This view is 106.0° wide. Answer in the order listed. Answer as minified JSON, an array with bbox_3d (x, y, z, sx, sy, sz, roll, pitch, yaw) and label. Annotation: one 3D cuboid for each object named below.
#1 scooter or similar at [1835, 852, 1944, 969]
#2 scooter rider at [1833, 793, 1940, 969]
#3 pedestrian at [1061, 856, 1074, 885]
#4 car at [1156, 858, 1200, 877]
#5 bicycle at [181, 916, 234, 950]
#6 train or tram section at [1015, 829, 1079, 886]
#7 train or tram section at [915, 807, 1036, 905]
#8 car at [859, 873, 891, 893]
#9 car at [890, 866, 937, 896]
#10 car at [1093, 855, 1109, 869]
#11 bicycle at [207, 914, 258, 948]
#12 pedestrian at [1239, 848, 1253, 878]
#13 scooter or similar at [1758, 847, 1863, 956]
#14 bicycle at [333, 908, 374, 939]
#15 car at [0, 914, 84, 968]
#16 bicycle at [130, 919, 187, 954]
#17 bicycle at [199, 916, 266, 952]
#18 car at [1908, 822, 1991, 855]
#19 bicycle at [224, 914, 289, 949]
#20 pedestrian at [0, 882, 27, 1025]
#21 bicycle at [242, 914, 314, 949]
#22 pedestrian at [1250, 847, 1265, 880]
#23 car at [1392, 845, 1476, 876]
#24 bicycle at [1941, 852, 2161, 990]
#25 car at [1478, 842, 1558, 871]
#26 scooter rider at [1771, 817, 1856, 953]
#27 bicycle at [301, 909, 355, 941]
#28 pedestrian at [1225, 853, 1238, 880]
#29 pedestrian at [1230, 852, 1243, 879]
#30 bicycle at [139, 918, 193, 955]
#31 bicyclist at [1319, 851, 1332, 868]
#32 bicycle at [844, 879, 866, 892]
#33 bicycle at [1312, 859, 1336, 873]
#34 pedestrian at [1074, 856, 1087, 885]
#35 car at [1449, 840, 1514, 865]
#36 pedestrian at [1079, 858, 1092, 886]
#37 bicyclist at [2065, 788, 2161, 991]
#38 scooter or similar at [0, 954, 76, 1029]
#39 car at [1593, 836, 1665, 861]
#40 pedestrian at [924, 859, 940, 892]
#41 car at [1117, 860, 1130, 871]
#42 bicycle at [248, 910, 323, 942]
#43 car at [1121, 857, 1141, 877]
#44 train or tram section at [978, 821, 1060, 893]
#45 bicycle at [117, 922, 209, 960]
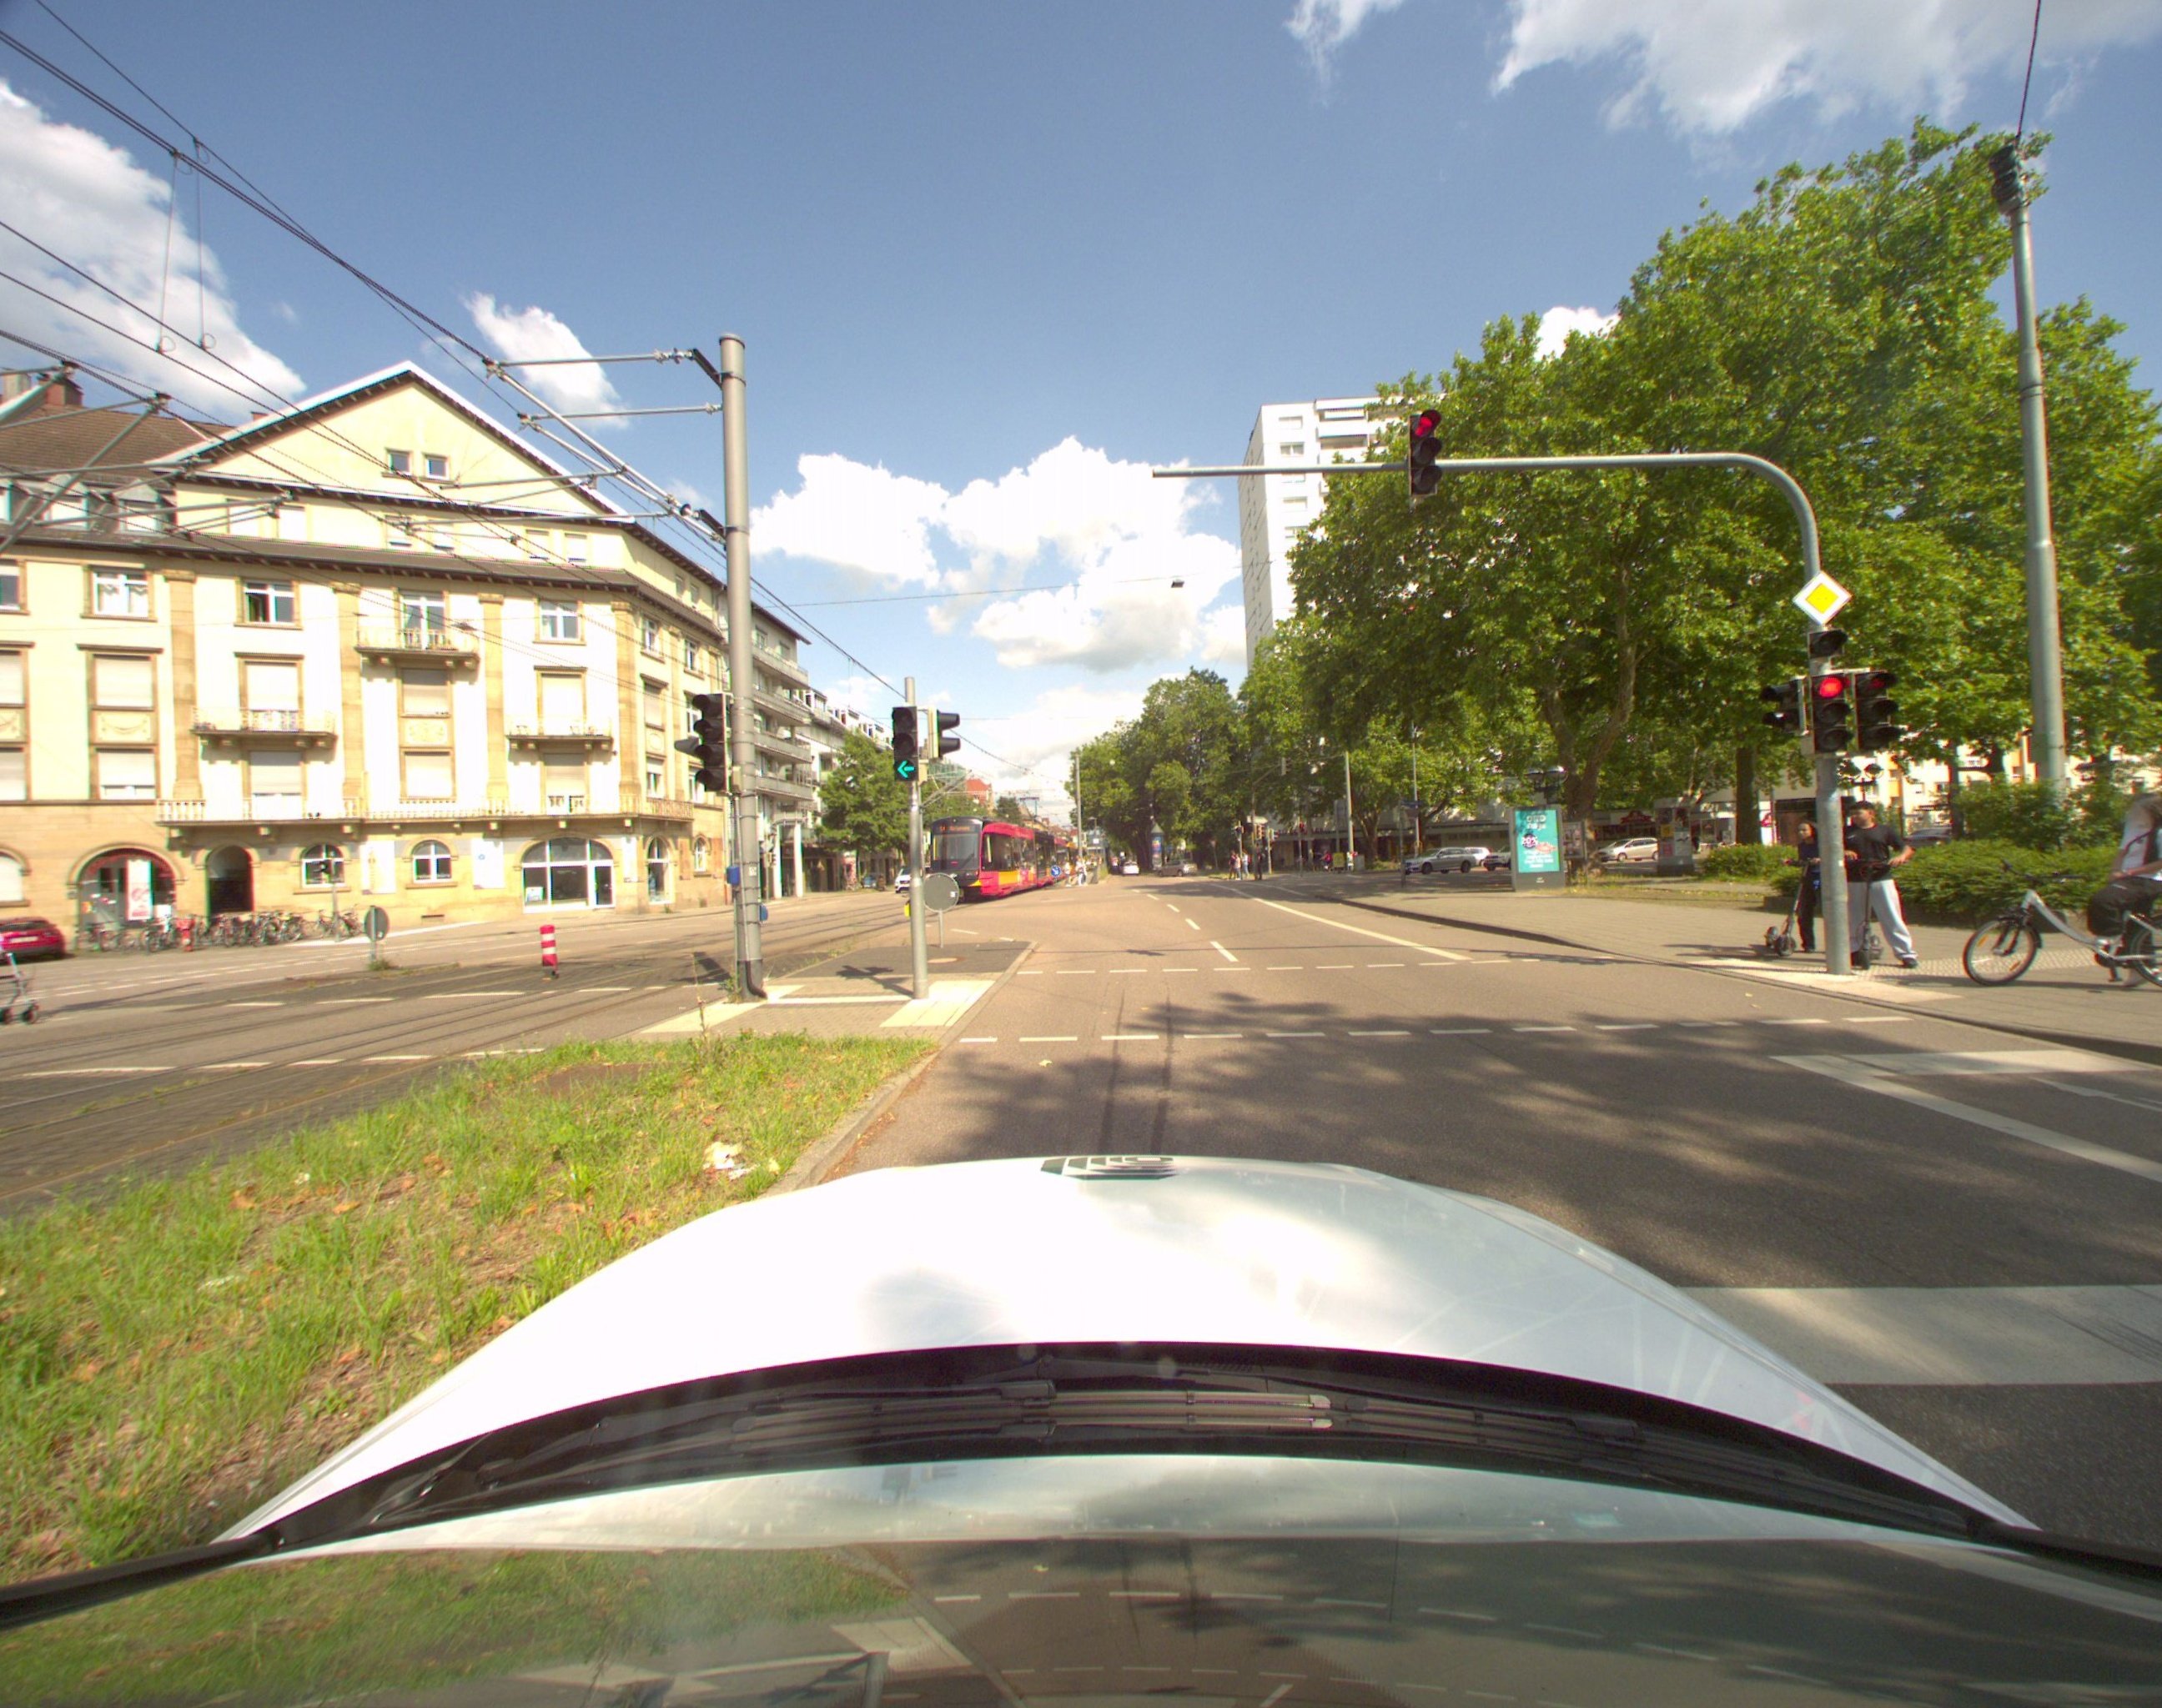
[{"bbox_3d":[8.708,0.592,8.806,0.538,1.171,0.882,-5,-1,28],"label":"scooter or similar"},{"bbox_3d":[8.687,0.281,8.816,0.538,1.810,0.684,-5,-1,28],"label":"scooter rider"},{"bbox_3d":[-0.815,1.019,49.380,0.666,1.703,0.649,-3,-1,5],"label":"pedestrian"},{"bbox_3d":[8.130,1.164,68.369,1.761,1.453,3.566,-2,-1,-34],"label":"car"},{"bbox_3d":[-31.841,2.854,29.703,0.541,1.018,1.914,-3,2,-23],"label":"bicycle"},{"bbox_3d":[-2.221,0.239,59.152,2.792,3.561,12.175,-3,0,5],"label":"train or tram section"},{"bbox_3d":[-4.295,0.095,36.303,2.782,3.561,11.392,-3,0,5],"label":"train or tram section"},{"bbox_3d":[-19.090,2.668,75.764,1.840,1.789,4.001,0,-1,2],"label":"car"},{"bbox_3d":[-11.921,1.872,58.340,1.985,1.891,5.176,-3,-1,3],"label":"car"},{"bbox_3d":[2.859,1.106,114.722,1.806,1.804,4.006,-3,-1,5],"label":"car"},{"bbox_3d":[-31.216,2.830,30.003,0.541,1.018,1.914,-3,2,-23],"label":"bicycle"},{"bbox_3d":[9.849,0.533,48.478,0.529,1.735,0.553,-3,-1,-19],"label":"pedestrian"},{"bbox_3d":[8.913,0.562,9.957,0.877,1.226,0.541,-4,-1,-20],"label":"scooter or similar"},{"bbox_3d":[-27.884,2.650,31.243,0.611,1.018,1.861,-3,1,-25],"label":"bicycle"},{"bbox_3d":[-34.975,2.829,26.900,3.948,1.441,1.981,-1,1,31],"label":"car"},{"bbox_3d":[-32.778,2.914,28.969,0.541,1.018,1.914,-3,2,-23],"label":"bicycle"},{"bbox_3d":[-30.242,2.824,29.077,0.538,1.018,1.923,-2,2,-8],"label":"bicycle"},{"bbox_3d":[47.293,-0.851,44.360,4.003,1.501,1.678,-4,0,-22],"label":"car"},{"bbox_3d":[-29.728,2.786,29.399,0.538,1.018,1.923,-2,1,-8],"label":"bicycle"},{"bbox_3d":[-13.440,1.230,9.876,0.525,1.732,0.557,-3,-1,-3],"label":"pedestrian"},{"bbox_3d":[-28.948,2.765,29.385,0.598,1.018,1.879,-2,1,4],"label":"bicycle"},{"bbox_3d":[10.072,0.533,46.475,0.475,1.825,0.560,-4,-1,45],"label":"pedestrian"},{"bbox_3d":[19.710,0.363,45.498,3.993,1.490,1.852,-3,-1,-15],"label":"car"},{"bbox_3d":[8.824,0.587,7.160,1.610,1.112,0.510,-6,-2,42],"label":"bicycle"},{"bbox_3d":[25.706,0.143,47.881,4.075,1.490,1.849,-3,-1,-19],"label":"car"},{"bbox_3d":[8.969,0.372,9.985,0.438,1.593,0.541,-4,-1,-20],"label":"scooter rider"},{"bbox_3d":[-28.634,2.681,30.999,0.609,1.018,1.868,-2,1,-13],"label":"bicycle"},{"bbox_3d":[9.343,0.771,50.448,0.512,1.671,0.553,-3,-1,-19],"label":"pedestrian"},{"bbox_3d":[9.533,0.723,49.897,0.512,1.597,0.553,-3,-1,-19],"label":"pedestrian"},{"bbox_3d":[-31.870,2.858,28.398,0.541,1.018,1.912,-3,2,-27],"label":"bicycle"},{"bbox_3d":[18.311,0.425,60.996,0.803,1.251,0.485,-1,-1,30],"label":"bicyclist"},{"bbox_3d":[-18.967,2.656,68.267,1.684,0.986,0.497,-3,-1,-1],"label":"bicycle"},{"bbox_3d":[18.199,0.912,61.058,1.661,1.088,0.485,-1,-1,30],"label":"bicycle"},{"bbox_3d":[-0.021,1.008,49.215,0.666,1.703,0.649,-3,-1,5],"label":"pedestrian"},{"bbox_3d":[28.036,-0.088,57.025,3.646,1.484,1.737,-3,-1,2],"label":"car"},{"bbox_3d":[0.307,1.150,51.287,0.666,1.703,0.649,-3,-1,5],"label":"pedestrian"},{"bbox_3d":[9.019,0.290,6.967,0.576,1.668,0.510,-6,-2,41],"label":"bicyclist"},{"bbox_3d":[-12.985,1.674,9.884,0.836,0.804,0.553,-3,-1,-2],"label":"scooter or similar"},{"bbox_3d":[38.115,-0.365,56.730,3.832,1.490,1.857,-3,0,-6],"label":"car"},{"bbox_3d":[-9.245,1.322,50.535,0.734,2.014,0.705,-3,-1,8],"label":"pedestrian"},{"bbox_3d":[5.440,1.487,105.111,1.480,1.315,3.999,-2,0,0],"label":"car"},{"bbox_3d":[-30.239,2.740,30.988,1.928,1.018,0.537,-3,2,-20],"label":"bicycle"},{"bbox_3d":[5.160,1.338,84.431,1.986,2.014,4.001,-2,-1,2],"label":"car"},{"bbox_3d":[-3.327,0.183,47.526,2.792,3.561,11.197,-3,0,5],"label":"train or tram section"},{"bbox_3d":[-30.702,2.908,27.284,1.938,1.018,0.534,-3,2,-39],"label":"bicycle"}]
